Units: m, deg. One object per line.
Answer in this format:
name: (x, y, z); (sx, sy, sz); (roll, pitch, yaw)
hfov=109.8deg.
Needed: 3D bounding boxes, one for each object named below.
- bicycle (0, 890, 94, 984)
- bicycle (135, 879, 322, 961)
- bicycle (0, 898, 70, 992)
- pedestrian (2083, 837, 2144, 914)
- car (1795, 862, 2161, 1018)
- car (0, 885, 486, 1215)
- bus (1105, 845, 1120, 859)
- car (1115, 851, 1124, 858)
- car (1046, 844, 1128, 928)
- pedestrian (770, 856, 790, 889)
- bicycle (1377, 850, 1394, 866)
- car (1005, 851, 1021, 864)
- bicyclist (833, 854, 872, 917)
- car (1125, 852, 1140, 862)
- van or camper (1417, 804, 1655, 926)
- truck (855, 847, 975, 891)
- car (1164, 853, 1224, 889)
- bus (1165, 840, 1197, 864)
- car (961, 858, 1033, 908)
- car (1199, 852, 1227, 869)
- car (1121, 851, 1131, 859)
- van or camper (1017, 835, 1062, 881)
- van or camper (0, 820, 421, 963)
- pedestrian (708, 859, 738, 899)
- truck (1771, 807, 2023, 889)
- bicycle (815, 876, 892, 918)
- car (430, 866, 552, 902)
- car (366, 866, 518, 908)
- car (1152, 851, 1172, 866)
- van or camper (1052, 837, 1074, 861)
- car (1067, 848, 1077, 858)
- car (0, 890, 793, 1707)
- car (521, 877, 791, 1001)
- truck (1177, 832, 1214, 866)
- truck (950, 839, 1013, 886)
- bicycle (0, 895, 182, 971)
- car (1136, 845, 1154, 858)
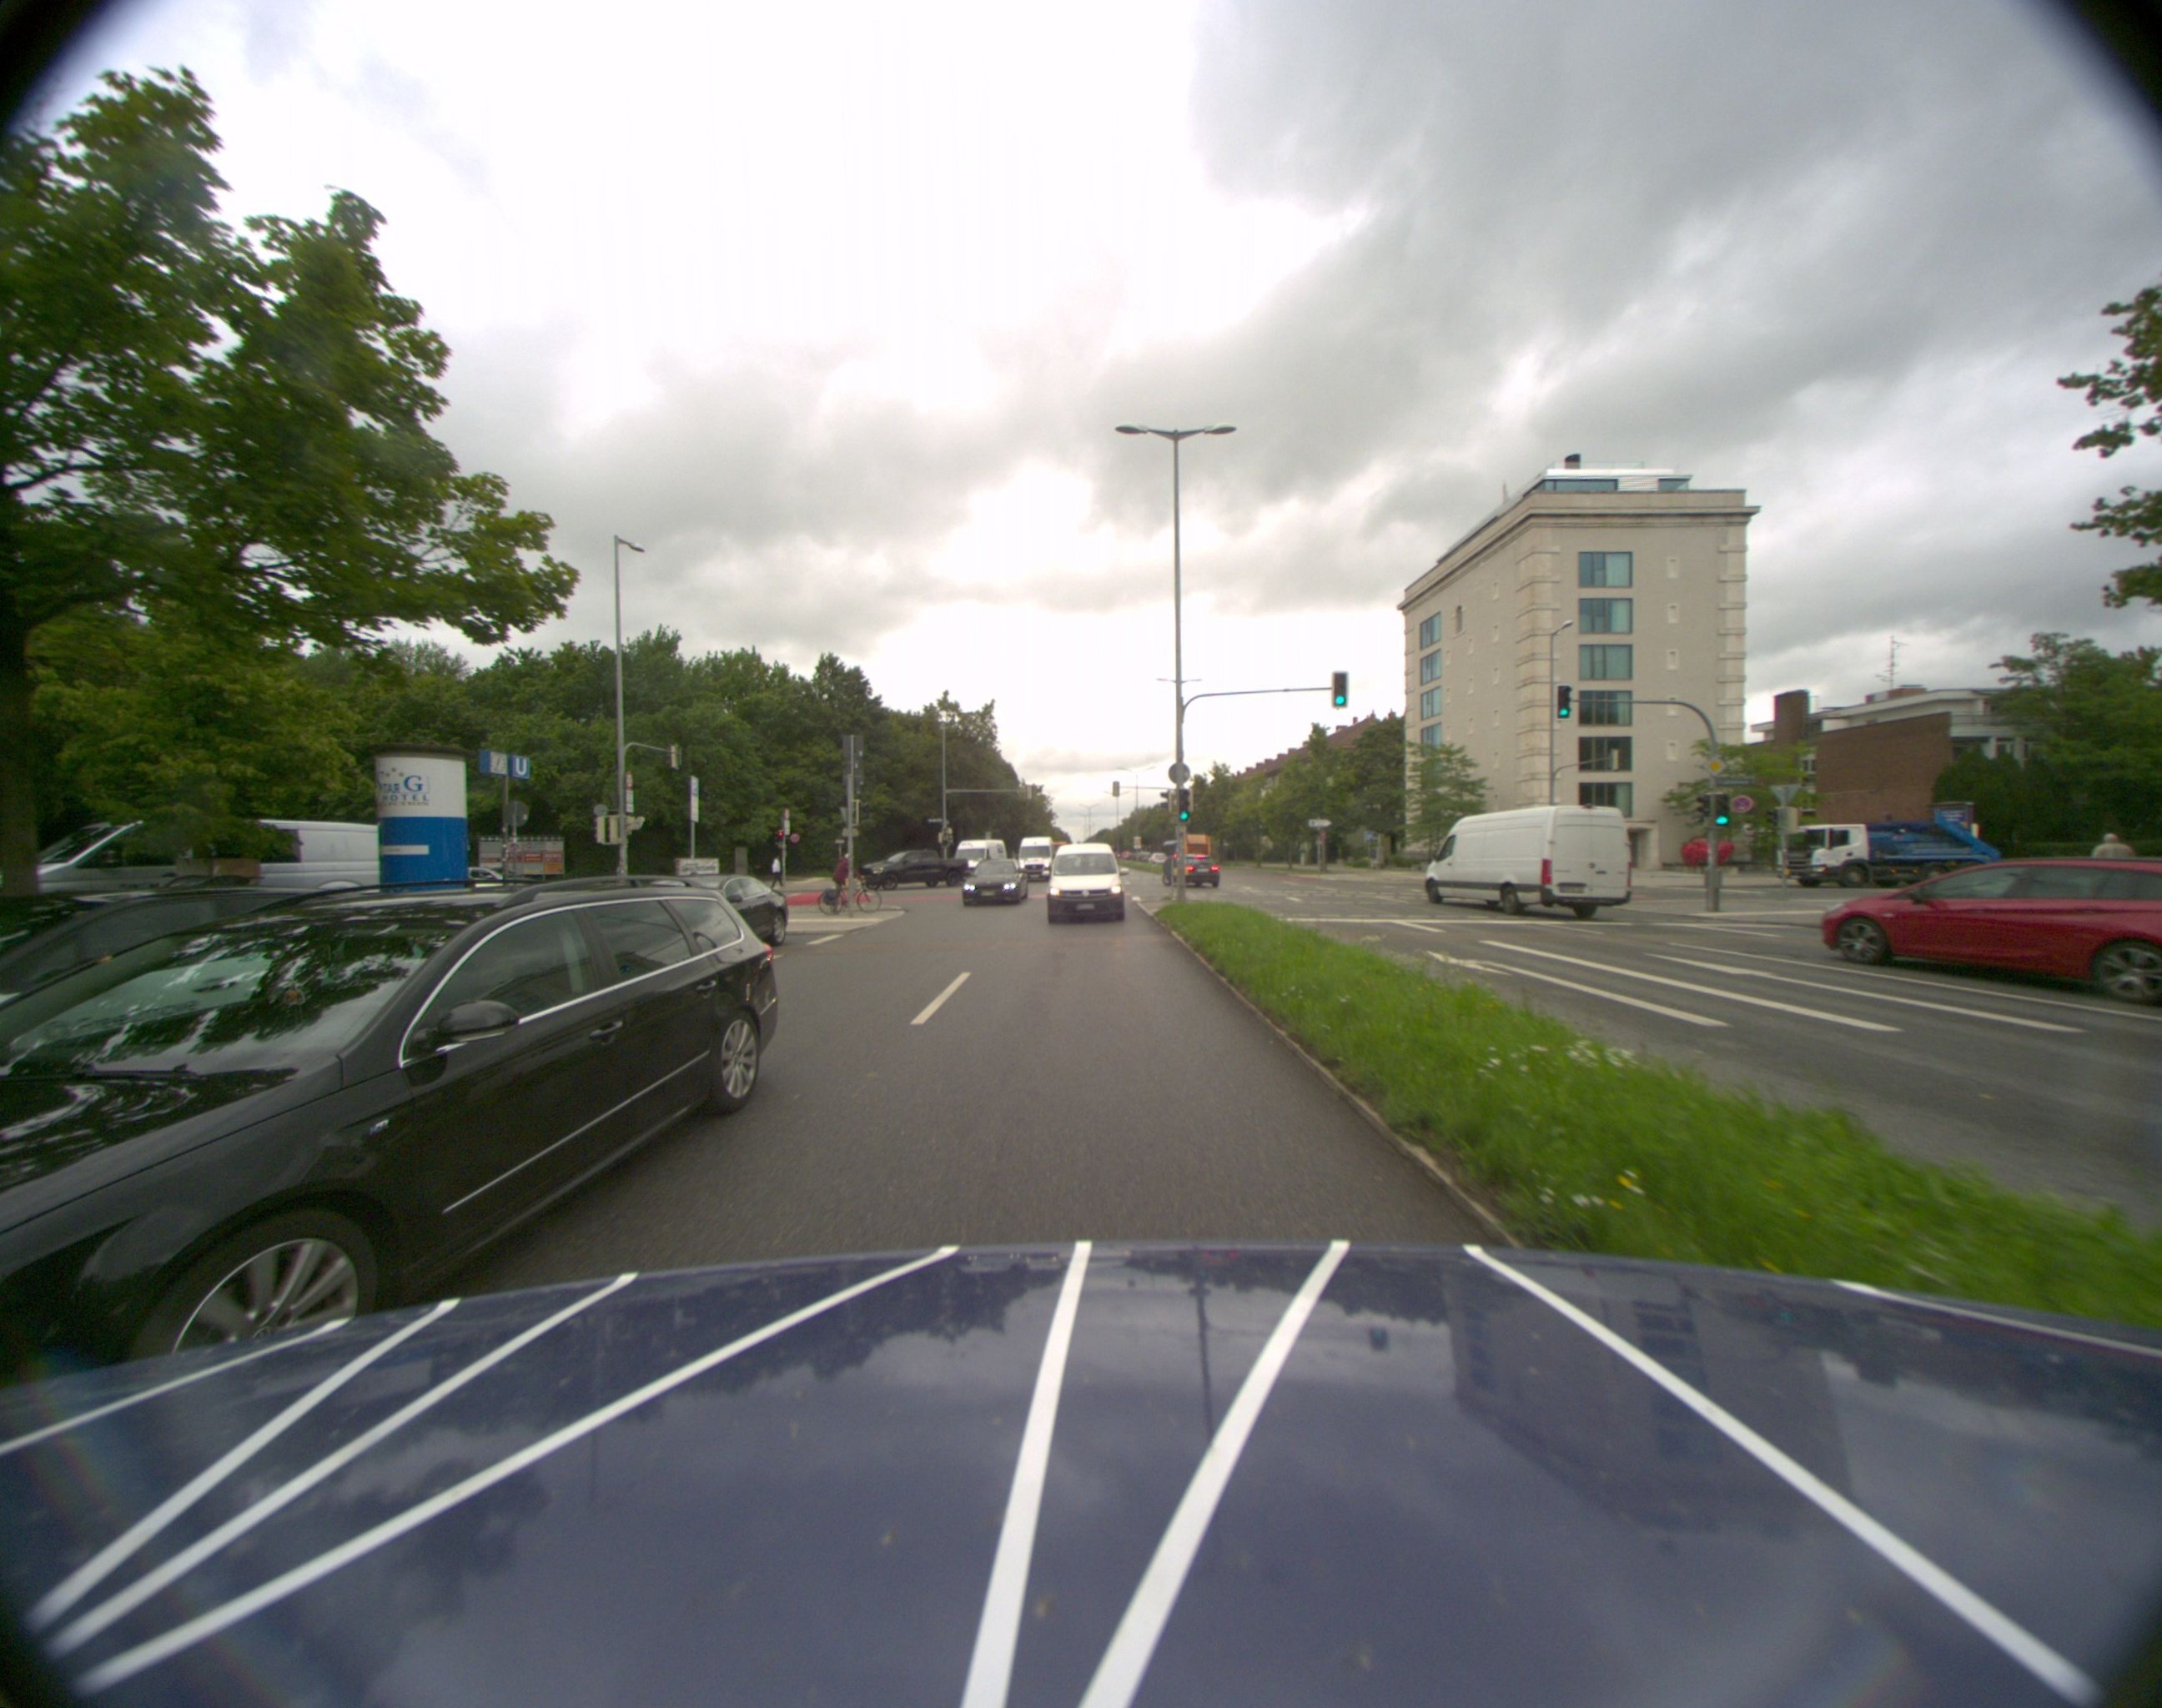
bicycle: (-14.718, 1.100, 10.165); (1.946, 1.205, 0.567); (1, 1, -11)
bicycle: (-14.480, 1.078, 13.016); (0.863, 1.191, 2.000); (1, 1, 5)
bicycle: (-14.197, 1.138, 9.582); (1.812, 1.136, 0.567); (1, 1, -11)
pedestrian: (23.629, 0.477, 17.393); (0.709, 1.730, 0.517); (-1, 1, -4)
car: (11.191, 0.857, 8.636); (1.747, 1.443, 4.657); (1, 0, 0)
car: (-6.418, 1.086, 4.897); (1.717, 1.538, 4.381); (-1, 1, -1)
bus: (7.846, -0.486, 189.793); (2.752, 3.324, 12.271); (1, 0, -1)
car: (8.040, 0.115, 158.653); (1.702, 1.561, 4.290); (-1, 1, -2)
car: (0.166, 0.681, 18.834); (1.752, 1.809, 4.671); (-1, 1, 1)
pedestrian: (-16.119, 0.972, 40.652); (0.762, 1.693, 0.938); (-1, 1, -9)
bicycle: (23.107, 0.300, 57.697); (0.546, 1.174, 1.826); (-1, 1, 0)
car: (-8.830, 0.480, 98.612); (1.752, 1.640, 4.254); (-1, 1, -1)
bicyclist: (-6.516, 0.875, 21.658); (0.829, 1.754, 0.744); (-2, 1, -35)
car: (8.065, 0.494, 119.977); (1.931, 1.453, 4.897); (1, 1, -1)
van or camper: (11.499, 0.221, 20.122); (2.183, 2.631, 6.950); (1, 0, 1)
truck: (-8.347, 0.689, 38.706); (2.099, 2.002, 5.824); (0, 1, 43)
car: (4.917, 0.695, 33.486); (1.644, 1.478, 3.778); (-1, 1, -7)
bus: (14.339, -0.307, 110.009); (2.752, 3.324, 12.046); (1, 0, -1)
car: (-2.734, 0.916, 25.823); (1.819, 1.421, 4.671); (-2, 0, 1)
car: (11.198, 0.537, 64.889); (1.727, 1.408, 4.215); (1, 1, 1)
car: (9.912, 0.201, 167.882); (1.784, 1.801, 4.429); (2, 0, -2)
van or camper: (-2.418, 0.175, 45.929); (2.183, 2.546, 7.074); (-1, 1, 1)
van or camper: (-17.418, 0.577, 15.106); (2.144, 2.283, 6.207); (-1, 1, 18)
pedestrian: (-14.139, 0.974, 30.006); (0.691, 1.530, 0.738); (0, 1, 20)
truck: (36.845, -0.234, 34.606); (7.813, 3.468, 2.773); (-1, 1, 8)
bicycle: (-6.480, 1.214, 21.684); (1.951, 1.075, 0.746); (-1, 1, -35)
car: (-26.040, 1.299, 33.629); (3.949, 1.445, 1.626); (-1, 1, -7)
car: (-25.391, 1.295, 30.316); (4.312, 1.489, 1.887); (-1, 1, -3)
car: (8.683, 0.478, 81.679); (1.732, 1.478, 4.742); (-1, 1, 0)
van or camper: (-2.459, -0.674, 104.396); (2.780, 3.219, 7.074); (-1, 1, 1)
car: (-1.764, -0.162, 151.694); (1.998, 2.002, 4.000); (-1, 1, 1)
car: (-2.945, 1.037, 3.140); (1.752, 1.466, 4.670); (-2, 1, -1)
car: (-6.301, 1.151, 12.014); (1.715, 1.352, 4.620); (-2, 1, -1)
truck: (11.772, -0.537, 78.658); (2.787, 3.337, 7.265); (-1, 1, 0)
truck: (-5.917, 0.416, 46.164); (1.997, 2.589, 7.230); (-1, 1, 7)
bicycle: (-14.880, 1.165, 11.413); (1.812, 1.065, 0.567); (1, 1, -11)
car: (8.066, -0.291, 95.470); (1.867, 1.533, 4.749); (3, 1, 1)
